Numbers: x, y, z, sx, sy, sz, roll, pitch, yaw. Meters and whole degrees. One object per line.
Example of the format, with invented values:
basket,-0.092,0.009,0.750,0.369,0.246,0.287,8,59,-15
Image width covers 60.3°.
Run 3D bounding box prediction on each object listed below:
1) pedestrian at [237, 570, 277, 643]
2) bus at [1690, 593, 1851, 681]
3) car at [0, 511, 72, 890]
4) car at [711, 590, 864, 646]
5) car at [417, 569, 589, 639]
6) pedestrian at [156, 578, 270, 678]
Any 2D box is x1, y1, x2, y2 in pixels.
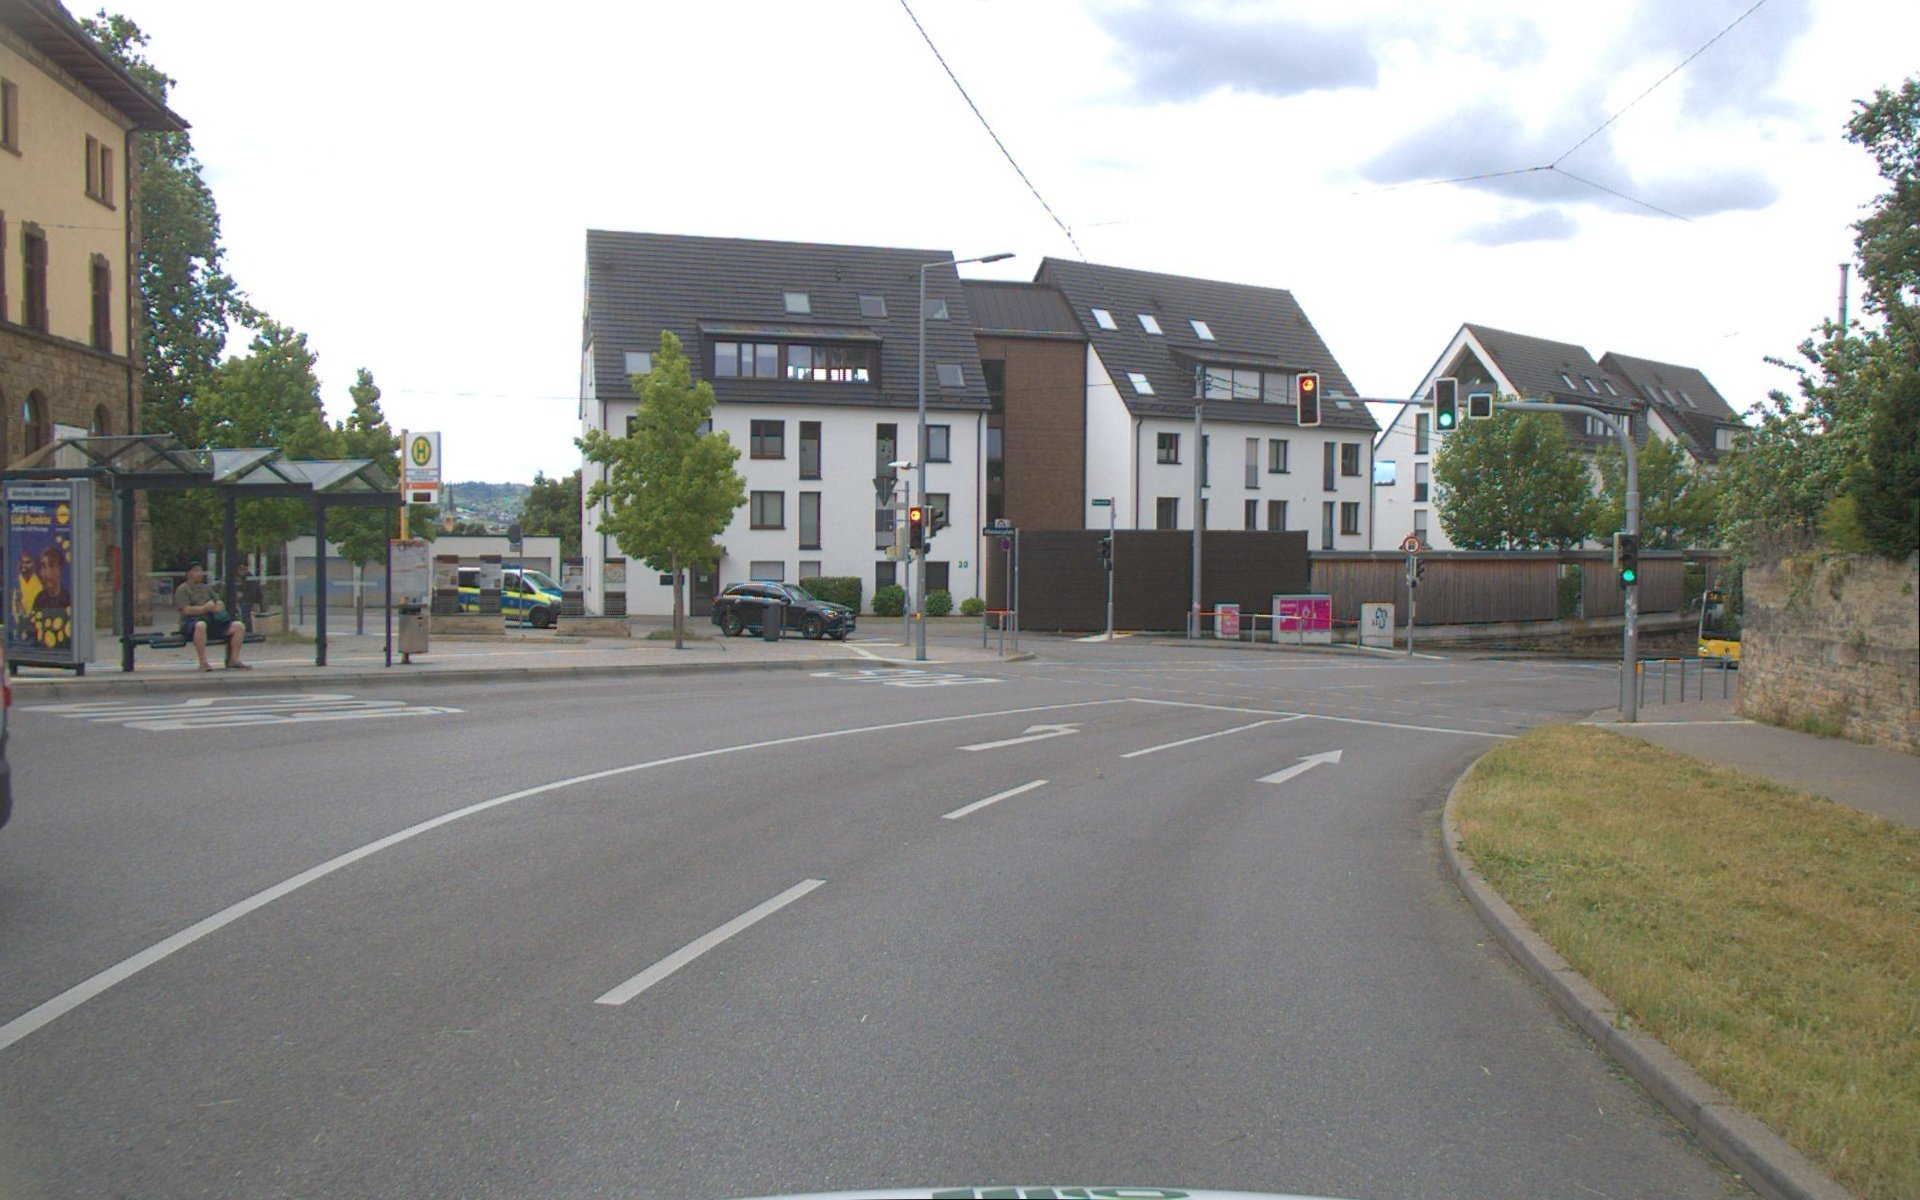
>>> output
pedestrian,-15.909,0.148,37.447,0.526,1.605,0.653,2,-1,6
bus,33.172,1.579,67.412,9.943,3.175,2.624,3,1,-45
car,-5.082,0.384,5.618,1.657,1.642,4.085,2,-1,4
car,-5.261,0.553,50.612,4.173,1.539,1.999,2,-1,23
car,-14.946,0.134,54.163,4.966,2.049,2.002,2,-1,11
pedestrian,-9.539,0.355,21.136,0.913,1.213,0.905,2,-1,19
